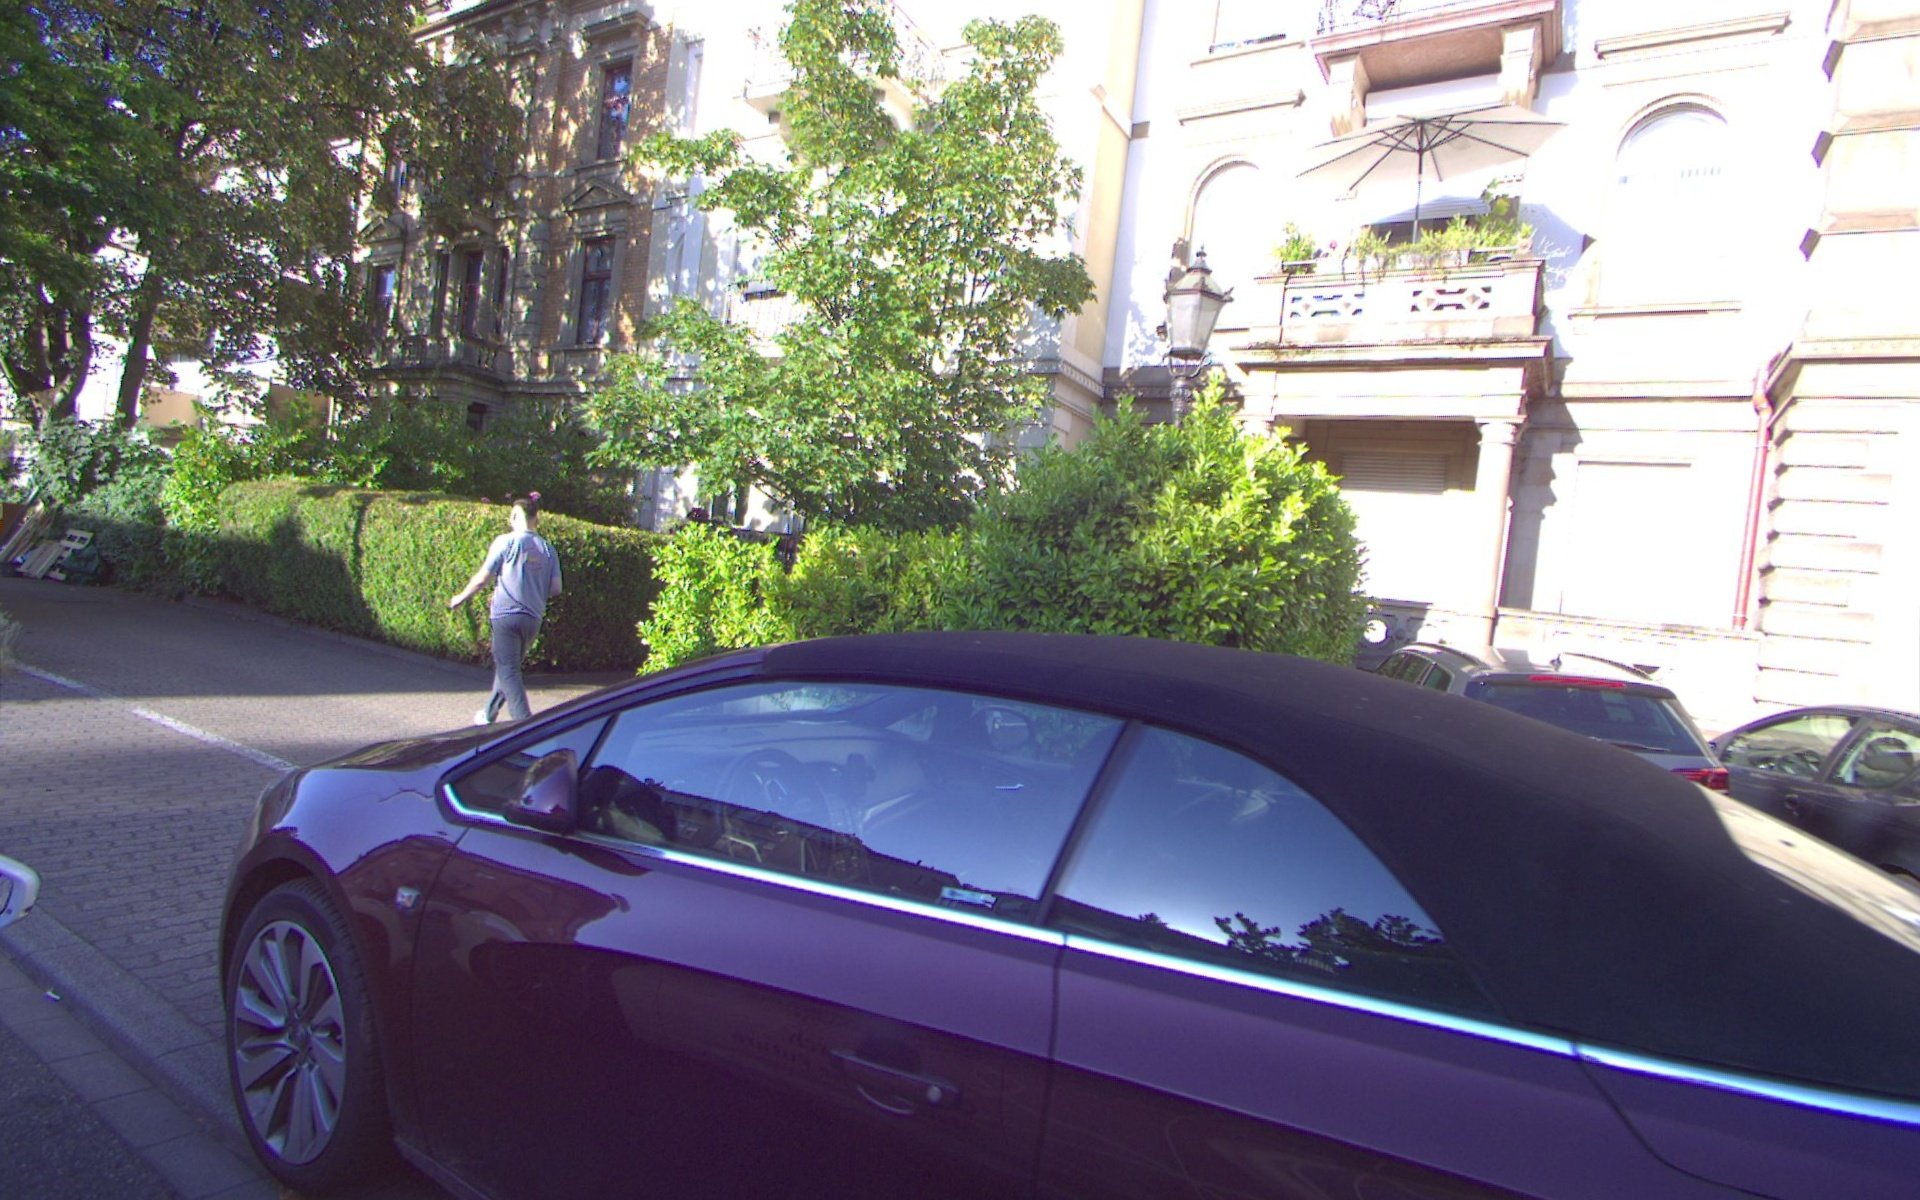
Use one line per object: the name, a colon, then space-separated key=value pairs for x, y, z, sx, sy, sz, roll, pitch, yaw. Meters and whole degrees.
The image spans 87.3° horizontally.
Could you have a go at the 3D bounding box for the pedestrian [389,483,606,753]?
pedestrian: x=-3.418 y=0.119 z=7.453 sx=1.070 sy=1.796 sz=0.822 roll=7 pitch=1 yaw=28

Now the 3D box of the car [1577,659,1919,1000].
car: x=5.896 y=1.341 z=6.458 sx=1.684 sy=1.460 sz=4.098 roll=7 pitch=1 yaw=9

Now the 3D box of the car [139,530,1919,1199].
car: x=0.240 y=0.783 z=2.226 sx=4.538 sy=1.439 sz=1.757 roll=7 pitch=2 yaw=31

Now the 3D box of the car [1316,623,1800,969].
car: x=3.904 y=1.080 z=7.504 sx=1.758 sy=1.530 sz=4.250 roll=7 pitch=2 yaw=13
